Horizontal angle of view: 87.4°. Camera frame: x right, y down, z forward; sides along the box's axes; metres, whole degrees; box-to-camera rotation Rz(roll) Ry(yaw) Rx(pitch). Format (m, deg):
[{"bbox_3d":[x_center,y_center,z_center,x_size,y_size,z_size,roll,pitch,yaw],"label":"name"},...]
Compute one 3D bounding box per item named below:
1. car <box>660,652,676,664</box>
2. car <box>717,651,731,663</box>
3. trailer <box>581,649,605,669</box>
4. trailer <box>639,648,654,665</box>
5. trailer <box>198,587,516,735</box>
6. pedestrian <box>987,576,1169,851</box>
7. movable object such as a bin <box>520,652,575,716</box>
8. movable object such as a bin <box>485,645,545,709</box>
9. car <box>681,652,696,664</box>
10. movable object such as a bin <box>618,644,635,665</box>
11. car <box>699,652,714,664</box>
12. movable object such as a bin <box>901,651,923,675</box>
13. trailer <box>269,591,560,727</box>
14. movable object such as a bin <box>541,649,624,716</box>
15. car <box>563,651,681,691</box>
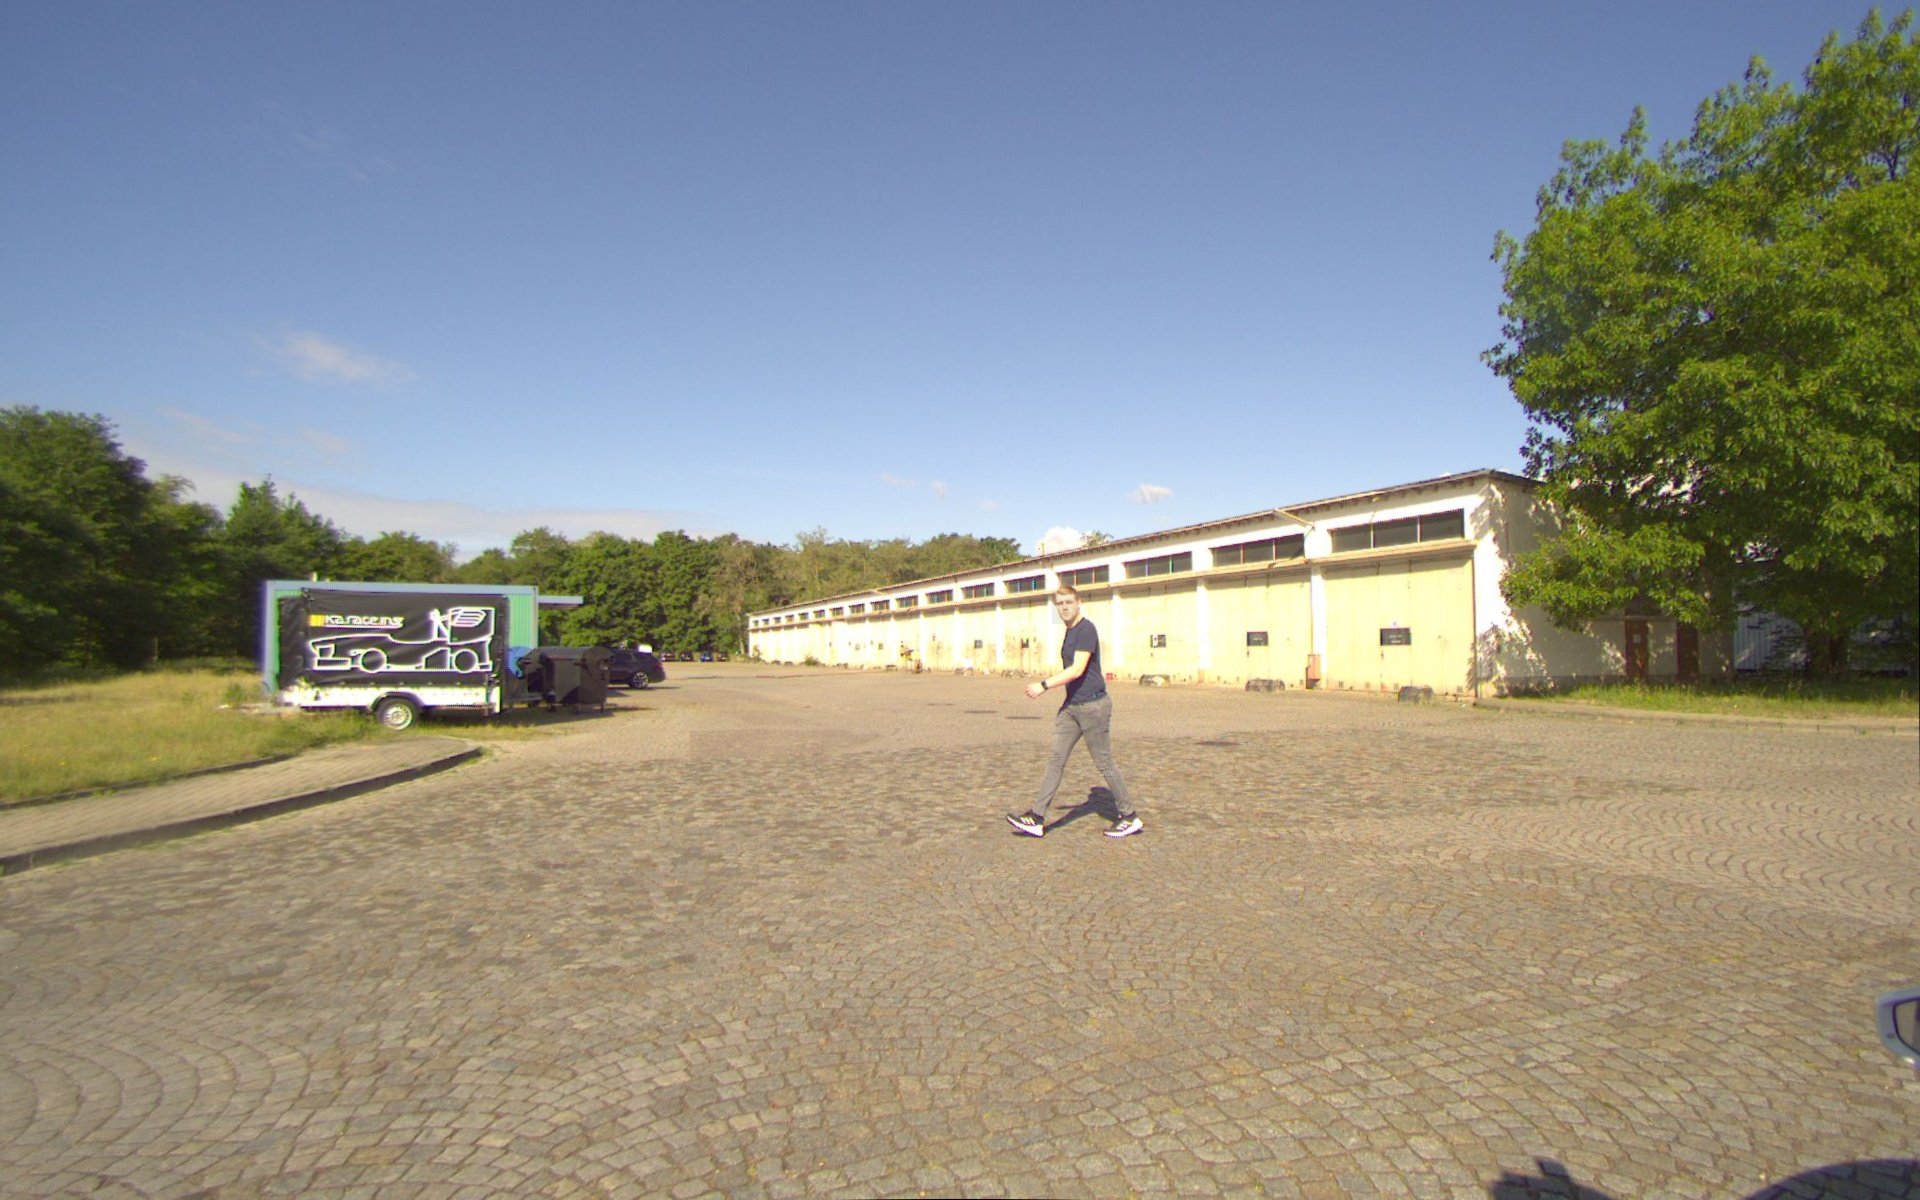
[{"bbox_3d":[-38.487,7.667,132.434,1.836,1.606,3.989,0,-3,-15],"label":"car"},{"bbox_3d":[-32.144,7.772,136.909,1.663,1.584,3.989,0,-3,-15],"label":"car"},{"bbox_3d":[-41.166,6.615,112.643,2.379,2.039,4.155,3,-4,-20],"label":"trailer"},{"bbox_3d":[-41.500,7.496,133.003,1.771,2.117,3.957,0,-3,-18],"label":"trailer"},{"bbox_3d":[-10.196,1.078,17.479,4.405,2.302,2.004,2,-4,-23],"label":"trailer"},{"bbox_3d":[0.886,0.828,7.706,1.126,1.939,0.796,1,-3,-22],"label":"pedestrian"},{"bbox_3d":[-9.458,1.906,23.097,1.067,1.403,1.363,1,-3,-19],"label":"movable object such as a bin"},{"bbox_3d":[-10.698,1.829,24.120,1.077,1.455,1.396,1,-3,-35],"label":"movable object such as a bin"},{"bbox_3d":[-36.187,7.746,133.820,1.967,1.482,3.989,0,-3,-15],"label":"car"},{"bbox_3d":[-43.880,7.236,132.305,1.969,2.652,3.985,2,-4,-18],"label":"movable object such as a bin"},{"bbox_3d":[-33.989,7.788,134.618,1.967,1.438,3.989,0,-4,-15],"label":"car"},{"bbox_3d":[-2.763,3.599,57.545,0.815,1.349,1.272,1,-3,-27],"label":"movable object such as a bin"},{"bbox_3d":[-10.630,1.177,19.938,4.795,2.422,1.929,2,-4,-29],"label":"trailer"},{"bbox_3d":[-8.240,1.784,21.943,1.339,1.404,1.047,-2,-3,25],"label":"movable object such as a bin"},{"bbox_3d":[-12.726,2.659,37.850,4.012,1.431,1.720,2,-4,-28],"label":"car"}]
